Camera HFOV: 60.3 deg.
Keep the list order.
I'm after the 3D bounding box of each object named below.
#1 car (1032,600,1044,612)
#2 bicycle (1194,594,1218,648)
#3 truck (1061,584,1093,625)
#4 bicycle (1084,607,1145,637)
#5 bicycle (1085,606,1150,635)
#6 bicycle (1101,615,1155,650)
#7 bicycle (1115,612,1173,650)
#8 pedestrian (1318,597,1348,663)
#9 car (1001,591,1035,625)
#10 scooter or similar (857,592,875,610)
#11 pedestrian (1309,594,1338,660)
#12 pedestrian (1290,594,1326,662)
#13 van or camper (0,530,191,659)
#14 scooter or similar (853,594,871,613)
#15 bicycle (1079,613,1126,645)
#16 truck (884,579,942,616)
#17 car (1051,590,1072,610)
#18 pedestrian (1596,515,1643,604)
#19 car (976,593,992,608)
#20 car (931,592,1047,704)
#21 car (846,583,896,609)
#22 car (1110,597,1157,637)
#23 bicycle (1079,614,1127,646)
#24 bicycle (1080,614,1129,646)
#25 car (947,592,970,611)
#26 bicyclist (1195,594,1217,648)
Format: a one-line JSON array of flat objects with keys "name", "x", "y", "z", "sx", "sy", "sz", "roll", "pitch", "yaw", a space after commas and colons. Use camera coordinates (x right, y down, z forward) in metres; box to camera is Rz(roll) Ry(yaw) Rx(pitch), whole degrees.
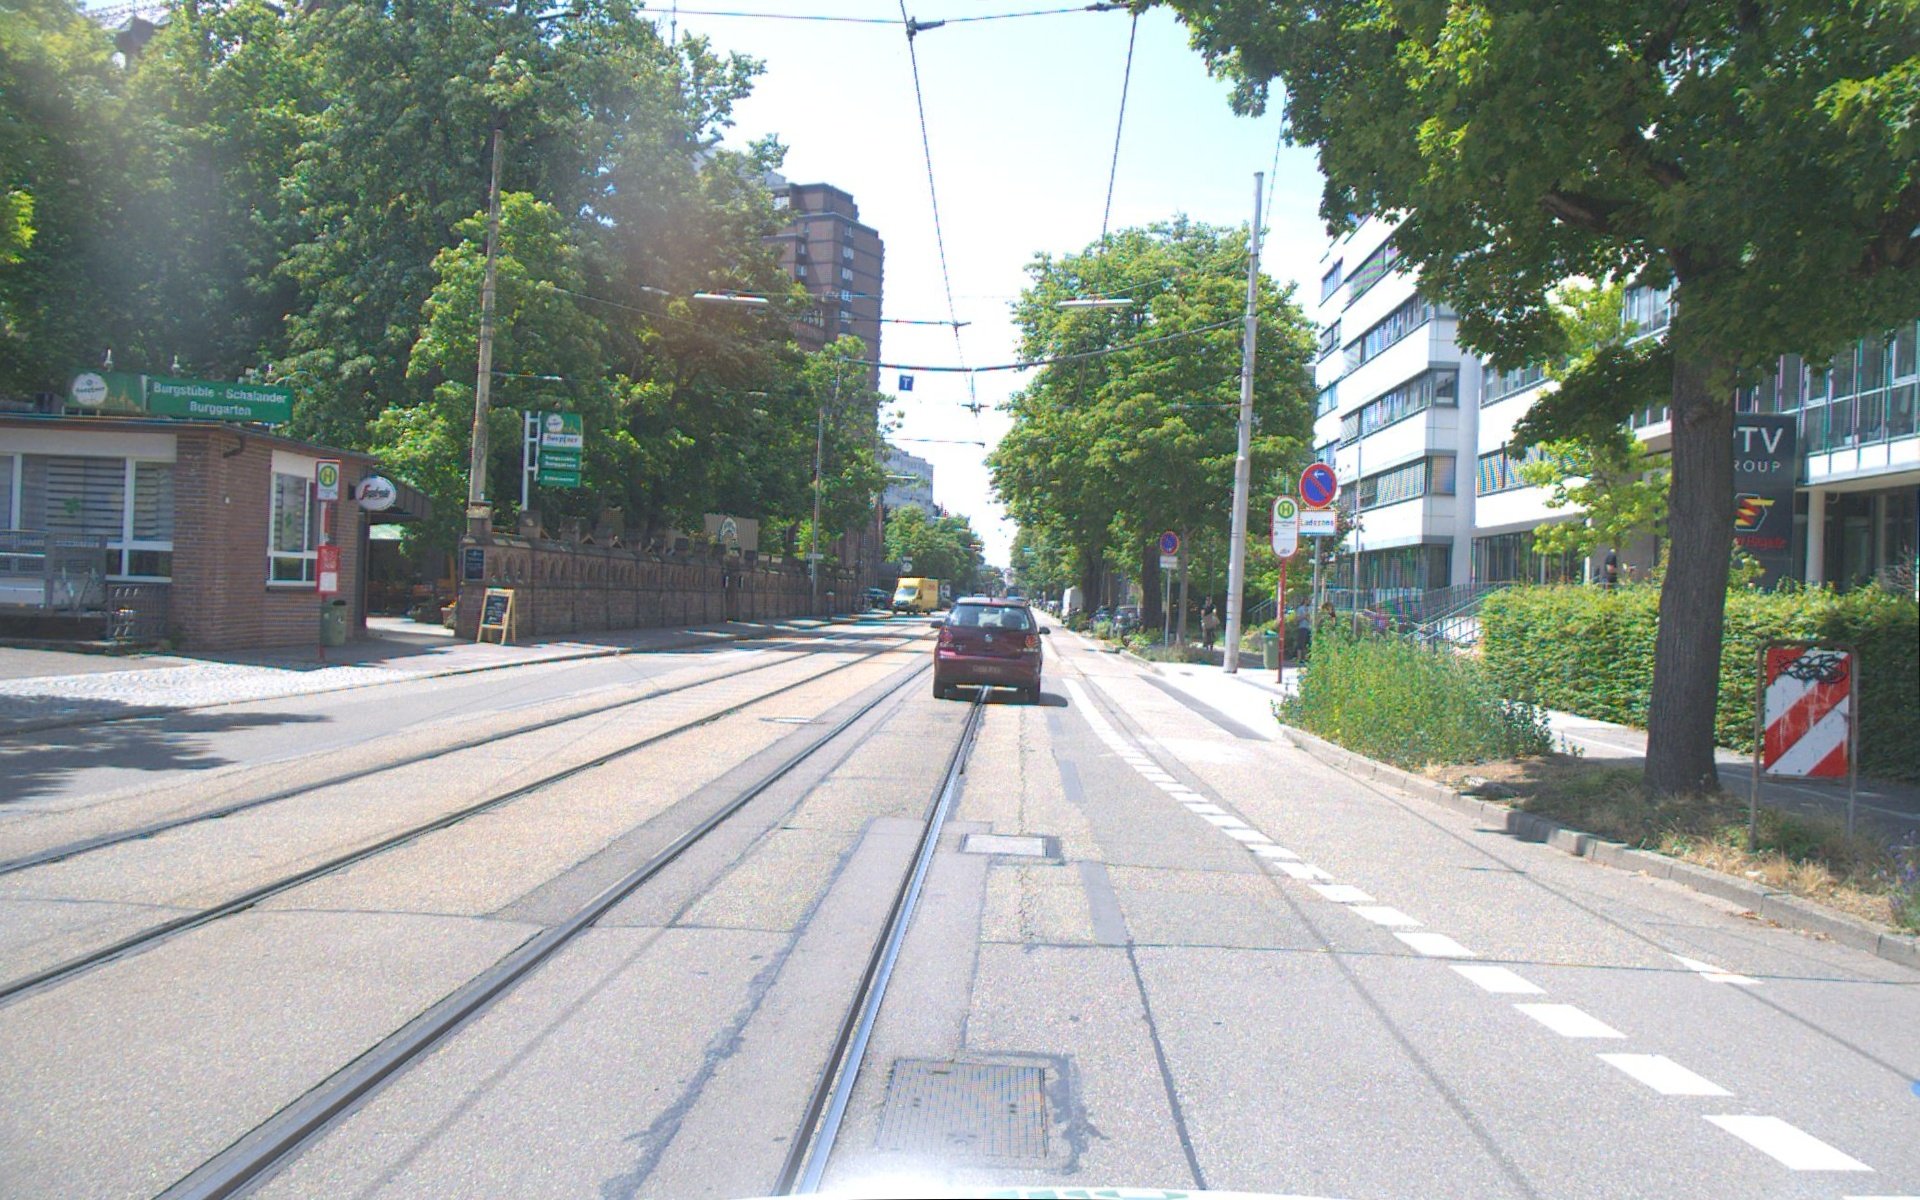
[{"name": "car", "x": 11.852, "y": 0.917, "z": 250.893, "sx": 1.640, "sy": 1.685, "sz": 4.001, "roll": 4, "pitch": 0, "yaw": 2}, {"name": "bicycle", "x": 8.452, "y": 0.712, "z": 56.819, "sx": 0.675, "sy": 1.817, "sz": 1.811, "roll": 1, "pitch": -1, "yaw": 5}, {"name": "truck", "x": 8.230, "y": 0.270, "z": 116.771, "sx": 1.952, "sy": 2.708, "sz": 4.876, "roll": 4, "pitch": 0, "yaw": 2}, {"name": "bicycle", "x": 8.057, "y": 1.152, "z": 86.271, "sx": 3.007, "sy": 1.335, "sz": 0.782, "roll": 4, "pitch": 0, "yaw": 0}, {"name": "bicycle", "x": 8.337, "y": 1.072, "z": 87.720, "sx": 3.299, "sy": 1.335, "sz": 0.782, "roll": 4, "pitch": 0, "yaw": 0}, {"name": "bicycle", "x": 5.717, "y": 1.096, "z": 56.202, "sx": 1.787, "sy": 1.104, "sz": 0.719, "roll": 2, "pitch": -1, "yaw": 5}, {"name": "bicycle", "x": 6.139, "y": 1.044, "z": 55.107, "sx": 1.844, "sy": 1.203, "sz": 0.694, "roll": 2, "pitch": -1, "yaw": 2}, {"name": "pedestrian", "x": 10.052, "y": 0.809, "z": 44.569, "sx": 0.530, "sy": 1.745, "sz": 0.561, "roll": 1, "pitch": -1, "yaw": -27}, {"name": "car", "x": 3.797, "y": 0.497, "z": 108.250, "sx": 1.953, "sy": 2.048, "sz": 4.000, "roll": 4, "pitch": 0, "yaw": 0}, {"name": "scooter or similar", "x": -6.481, "y": 0.083, "z": 113.913, "sx": 1.072, "sy": 1.175, "sz": 0.524, "roll": 4, "pitch": 0, "yaw": -19}, {"name": "pedestrian", "x": 9.709, "y": 0.709, "z": 44.166, "sx": 0.530, "sy": 1.745, "sz": 0.561, "roll": 1, "pitch": -1, "yaw": -27}, {"name": "pedestrian", "x": 9.474, "y": 0.761, "z": 45.036, "sx": 0.670, "sy": 1.828, "sz": 0.668, "roll": 1, "pitch": 0, "yaw": -29}, {"name": "van or camper", "x": -13.596, "y": -0.142, "z": 24.223, "sx": 3.706, "sy": 1.657, "sz": 1.872, "roll": 4, "pitch": 1, "yaw": 2}, {"name": "scooter or similar", "x": -6.613, "y": 0.249, "z": 111.330, "sx": 1.072, "sy": 1.175, "sz": 0.524, "roll": 4, "pitch": 0, "yaw": -19}, {"name": "bicycle", "x": 5.319, "y": 1.079, "z": 61.831, "sx": 1.715, "sy": 1.104, "sz": 0.549, "roll": 2, "pitch": 0, "yaw": 2}, {"name": "truck", "x": -3.736, "y": -0.158, "z": 133.083, "sx": 2.320, "sy": 2.835, "sz": 7.323, "roll": 2, "pitch": 0, "yaw": 17}, {"name": "car", "x": 9.128, "y": -0.014, "z": 148.827, "sx": 1.640, "sy": 1.685, "sz": 4.001, "roll": 4, "pitch": 0, "yaw": 2}, {"name": "pedestrian", "x": 13.273, "y": -0.797, "z": 33.311, "sx": 0.856, "sy": 1.745, "sz": 1.089, "roll": 0, "pitch": -1, "yaw": 22}, {"name": "car", "x": 3.041, "y": 0.064, "z": 210.506, "sx": 1.952, "sy": 1.887, "sz": 4.683, "roll": 2, "pitch": 0, "yaw": 2}, {"name": "car", "x": 0.462, "y": 0.674, "z": 25.396, "sx": 1.585, "sy": 1.512, "sz": 4.001, "roll": 2, "pitch": 0, "yaw": 1}, {"name": "car", "x": -7.565, "y": -0.353, "z": 140.918, "sx": 3.903, "sy": 2.049, "sz": 2.001, "roll": 2, "pitch": 0, "yaw": 6}, {"name": "car", "x": 7.026, "y": 0.674, "z": 67.207, "sx": 1.653, "sy": 1.529, "sz": 3.628, "roll": 1, "pitch": 0, "yaw": 2}, {"name": "bicycle", "x": 5.293, "y": 1.093, "z": 61.183, "sx": 1.715, "sy": 1.104, "sz": 0.549, "roll": 2, "pitch": 0, "yaw": 2}, {"name": "bicycle", "x": 5.278, "y": 1.085, "z": 60.284, "sx": 1.715, "sy": 1.104, "sz": 0.549, "roll": 2, "pitch": 0, "yaw": 2}, {"name": "car", "x": -0.119, "y": 0.148, "z": 143.129, "sx": 1.734, "sy": 1.542, "sz": 4.001, "roll": 2, "pitch": 0, "yaw": 2}, {"name": "bicyclist", "x": 8.446, "y": 0.715, "z": 56.790, "sx": 0.682, "sy": 1.831, "sz": 0.888, "roll": 1, "pitch": -1, "yaw": 5}]
